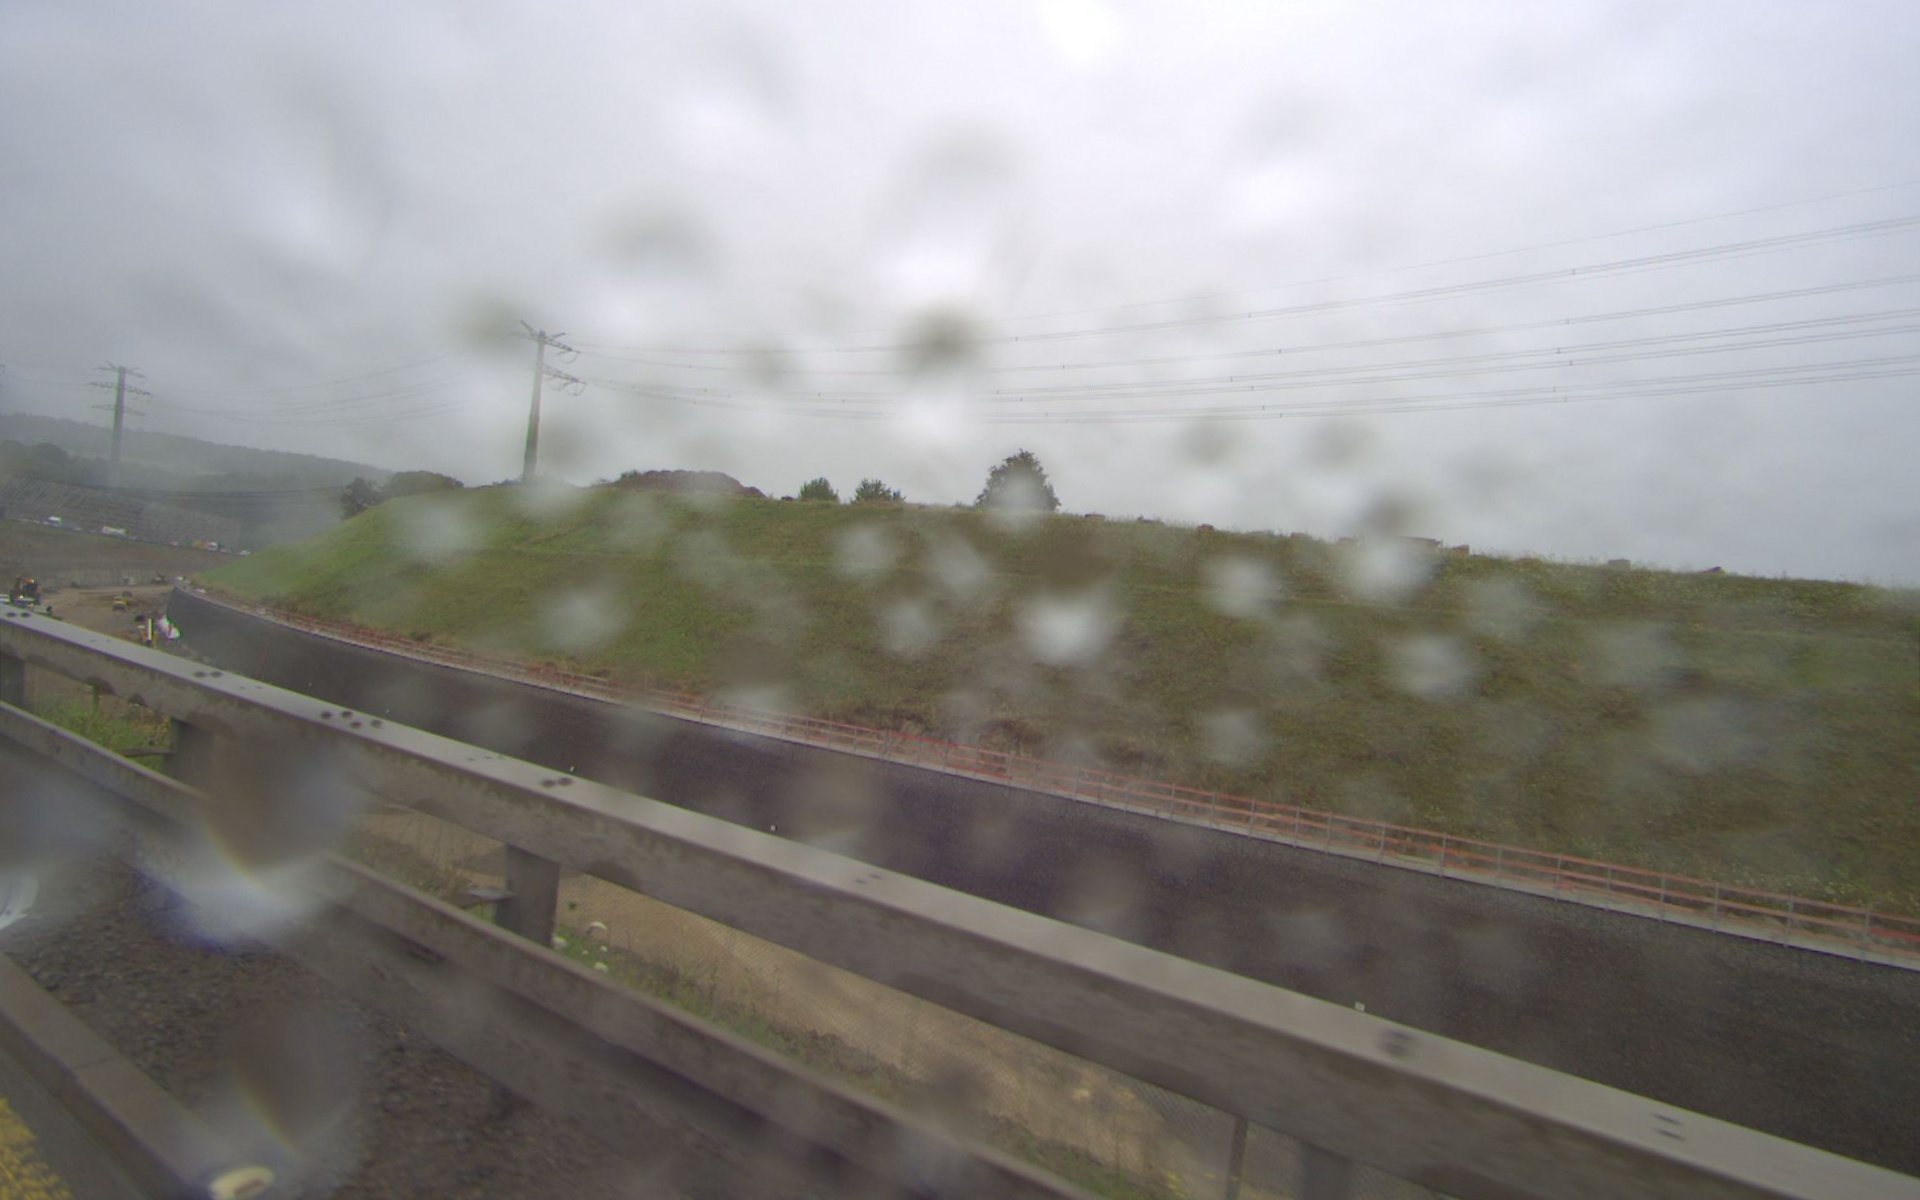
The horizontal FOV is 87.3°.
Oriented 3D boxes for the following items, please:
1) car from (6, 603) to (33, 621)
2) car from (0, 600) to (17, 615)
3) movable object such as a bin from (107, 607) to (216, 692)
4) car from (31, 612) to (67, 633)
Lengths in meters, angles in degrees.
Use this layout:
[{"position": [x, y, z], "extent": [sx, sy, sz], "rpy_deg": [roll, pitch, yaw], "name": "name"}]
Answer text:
[{"position": [-125.822, 1.645, 134.596], "extent": [3.941, 1.837, 1.994], "rpy_deg": [6, -2, 39], "name": "car"}, {"position": [-157.139, 1.187, 165.870], "extent": [1.987, 2.036, 3.955], "rpy_deg": [10, -3, -40], "name": "car"}, {"position": [-44.281, 2.766, 55.798], "extent": [4.056, 3.909, 3.221], "rpy_deg": [8, -3, 34], "name": "movable object such as a bin"}, {"position": [-112.131, 2.752, 123.844], "extent": [3.939, 2.036, 2.368], "rpy_deg": [6, -3, 36], "name": "car"}]
